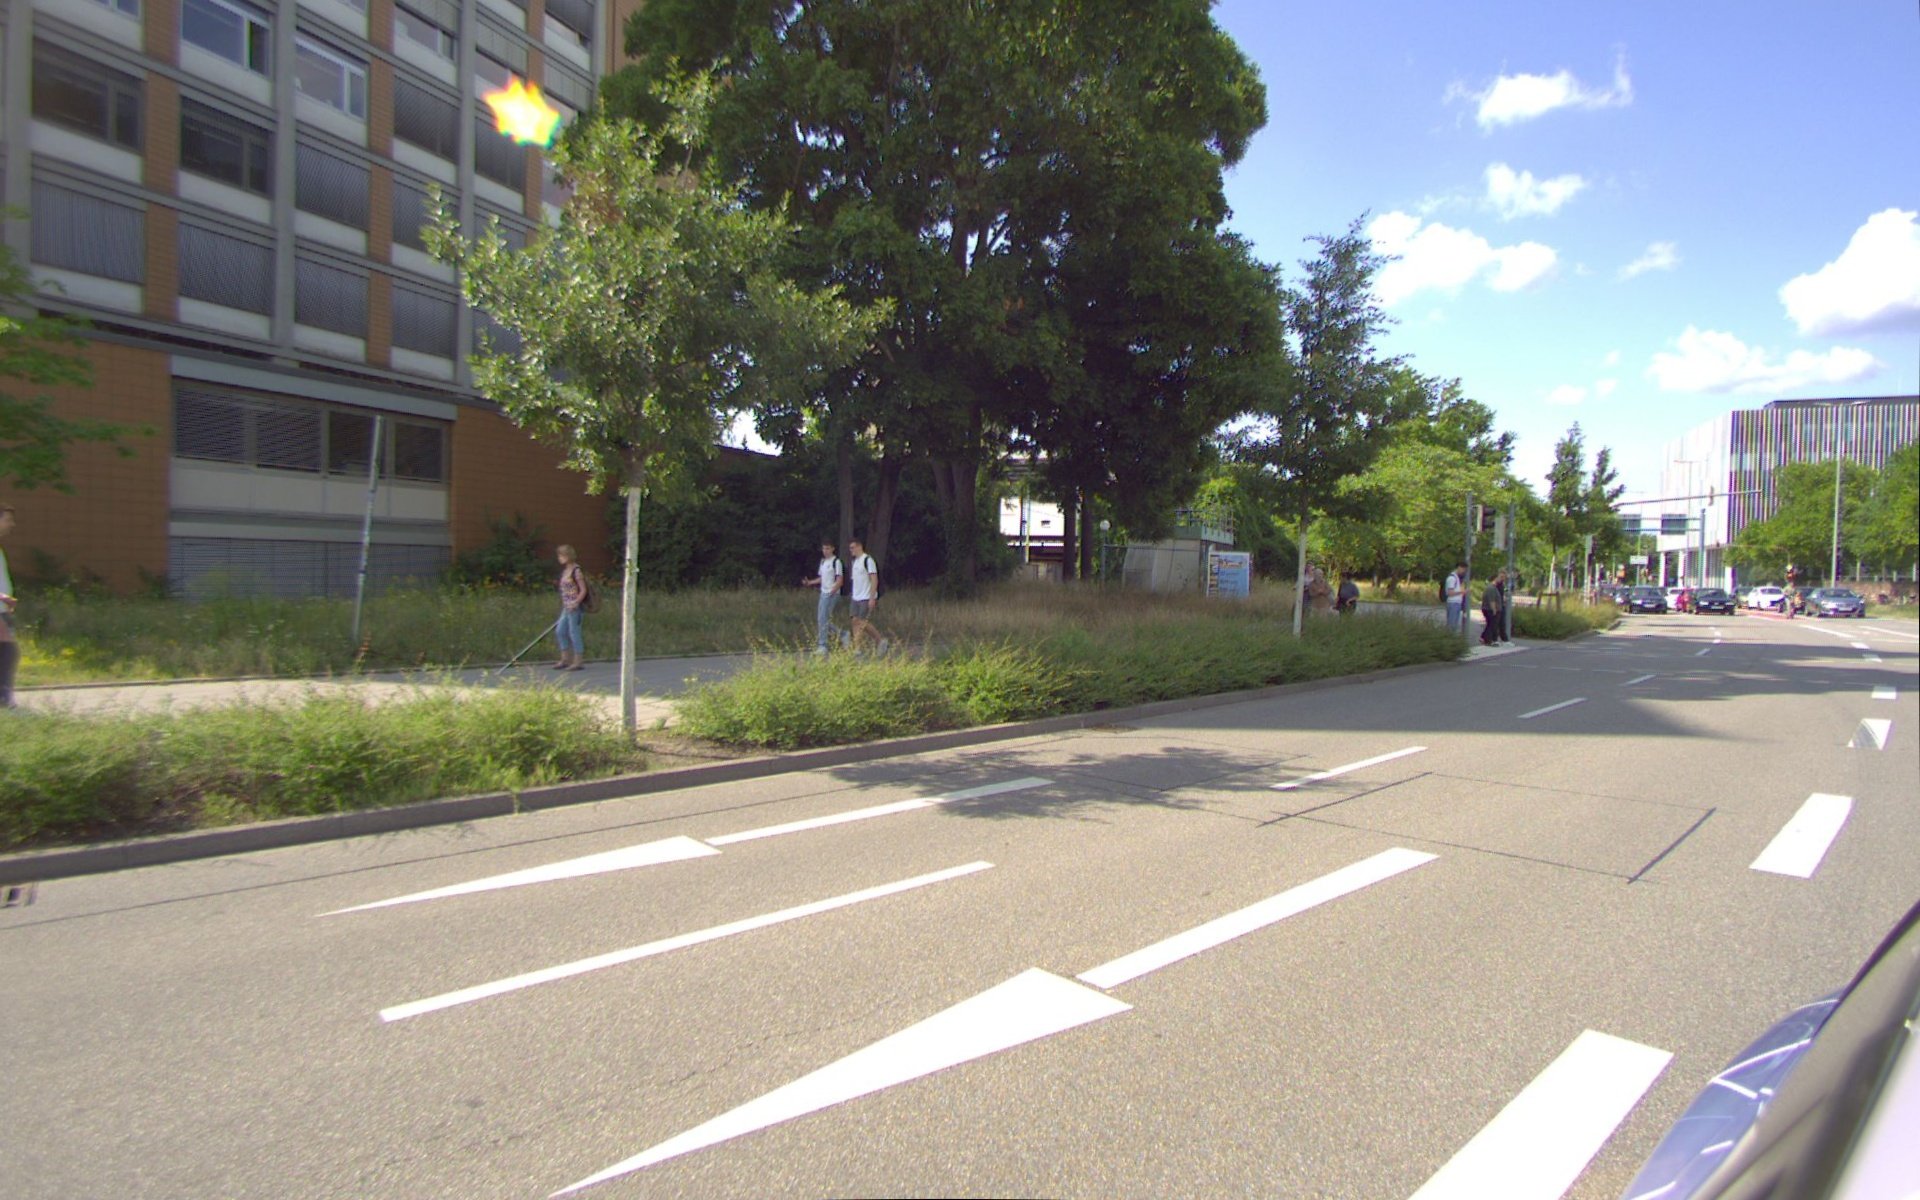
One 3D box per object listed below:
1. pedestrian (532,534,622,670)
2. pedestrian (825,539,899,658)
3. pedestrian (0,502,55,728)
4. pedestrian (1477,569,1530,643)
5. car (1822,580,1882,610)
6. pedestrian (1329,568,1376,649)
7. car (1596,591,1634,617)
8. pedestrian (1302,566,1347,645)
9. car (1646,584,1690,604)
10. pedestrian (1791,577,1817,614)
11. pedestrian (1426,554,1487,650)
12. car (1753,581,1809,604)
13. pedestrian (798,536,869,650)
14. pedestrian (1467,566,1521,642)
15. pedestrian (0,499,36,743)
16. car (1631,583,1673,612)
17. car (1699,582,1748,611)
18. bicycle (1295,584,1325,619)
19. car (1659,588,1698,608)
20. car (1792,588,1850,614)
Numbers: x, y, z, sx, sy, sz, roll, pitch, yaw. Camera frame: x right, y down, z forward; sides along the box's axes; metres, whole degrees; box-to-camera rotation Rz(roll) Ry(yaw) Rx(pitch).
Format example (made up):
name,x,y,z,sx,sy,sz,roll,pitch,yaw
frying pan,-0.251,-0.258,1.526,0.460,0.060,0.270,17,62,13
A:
name,x,y,z,sx,sy,sz,roll,pitch,yaw
pedestrian,-4.860,0.009,12.853,0.614,1.642,0.876,5,4,44
pedestrian,-1.481,-0.035,15.293,0.614,1.720,0.876,5,4,44
pedestrian,-7.837,0.100,8.063,0.742,1.767,0.876,5,4,43
pedestrian,13.122,0.135,24.418,0.755,1.756,0.926,-1,0,-43
car,43.563,-0.250,49.478,1.990,1.393,4.210,0,1,39
pedestrian,8.717,0.174,22.462,0.765,1.756,0.708,0,0,41
car,39.803,0.232,61.464,1.815,1.481,3.950,1,1,35
pedestrian,8.309,0.113,23.069,0.765,1.756,0.708,0,0,41
car,45.293,-0.415,64.799,1.894,1.148,4.059,2,2,30
pedestrian,39.285,-0.211,47.102,0.731,1.736,0.868,0,0,27
pedestrian,10.812,0.036,22.042,0.755,2.039,0.963,-1,0,-43
car,50.898,-0.474,62.791,1.761,1.371,3.966,0,1,25
pedestrian,-1.983,-0.127,15.859,0.614,1.720,0.876,5,4,44
pedestrian,12.589,0.081,23.868,0.755,1.756,0.926,-1,0,-43
pedestrian,-7.412,0.137,7.414,0.742,1.775,0.876,5,4,42
car,37.222,-0.173,54.480,1.814,1.481,3.951,1,1,34
car,40.288,-0.212,53.471,1.814,1.481,3.952,1,1,34
bicycle,9.514,0.016,27.466,0.642,0.891,1.808,1,2,23
car,42.014,-0.149,59.196,1.586,1.148,3.589,0,1,31
car,47.417,0.015,55.788,1.719,1.351,3.750,0,1,30
